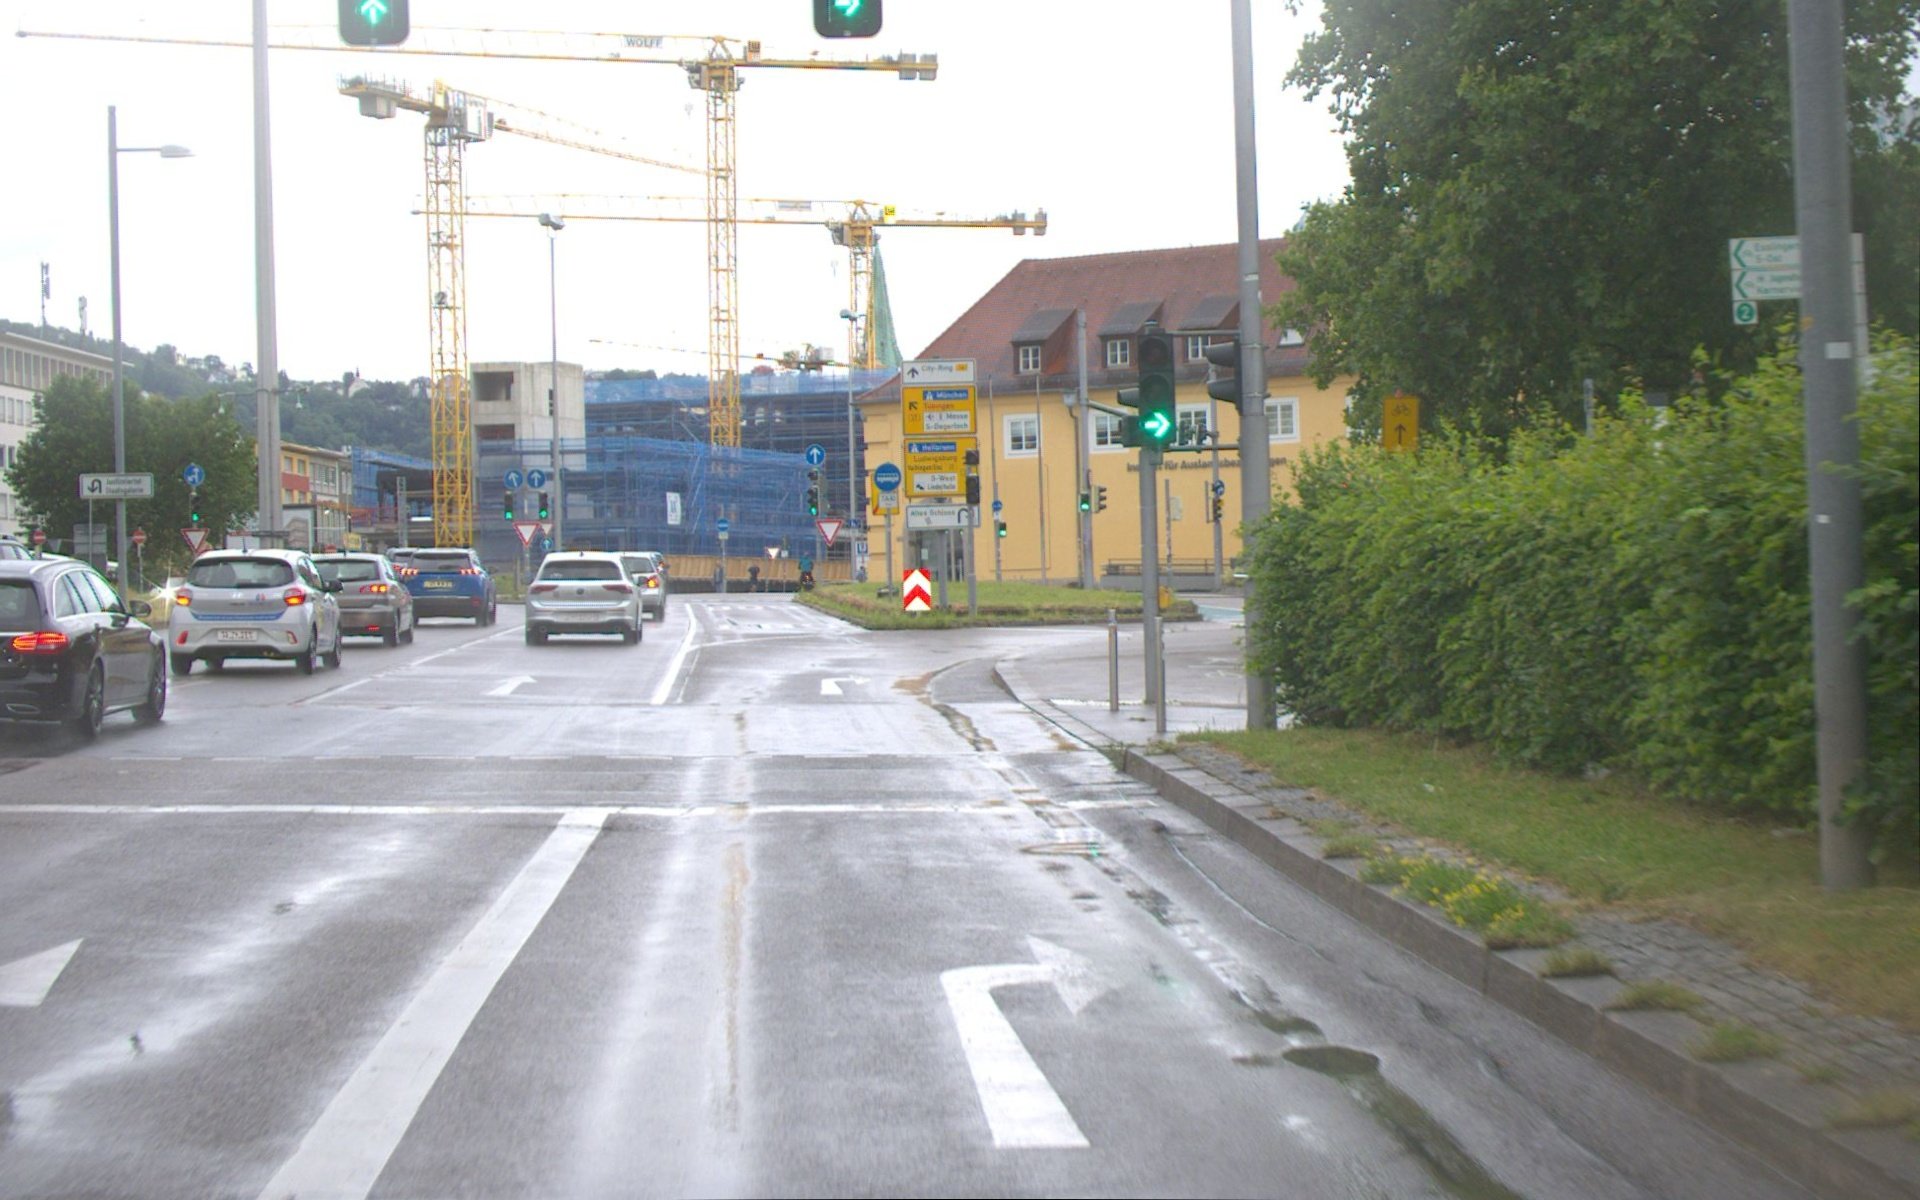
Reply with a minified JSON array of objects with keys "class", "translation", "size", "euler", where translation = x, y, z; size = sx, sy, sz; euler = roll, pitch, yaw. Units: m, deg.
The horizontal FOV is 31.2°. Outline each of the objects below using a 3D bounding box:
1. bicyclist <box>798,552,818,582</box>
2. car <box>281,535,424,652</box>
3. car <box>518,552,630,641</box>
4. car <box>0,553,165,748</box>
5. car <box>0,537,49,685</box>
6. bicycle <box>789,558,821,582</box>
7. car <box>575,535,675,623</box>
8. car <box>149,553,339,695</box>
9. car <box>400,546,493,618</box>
[{"class":"bicyclist","translation":[-6.473,-1.422,146.403],"size":[0.703,1.271,0.635],"euler":[0,0,-18]},{"class":"car","translation":[-9.300,-0.095,52.805],"size":[1.716,1.721,3.495],"euler":[0,0,-3]},{"class":"car","translation":[-5.994,-0.057,53.541],"size":[1.444,1.354,2.412],"euler":[0,0,1]},{"class":"car","translation":[-7.772,0.393,28.020],"size":[1.830,1.489,3.399],"euler":[0,0,0]},{"class":"car","translation":[-11.854,0.133,40.816],"size":[1.464,1.700,3.142],"euler":[0,0,-4]},{"class":"bicycle","translation":[-6.632,-1.272,146.678],"size":[0.880,1.006,1.993],"euler":[0,0,-18]},{"class":"car","translation":[-7.201,-0.478,74.144],"size":[1.667,1.735,3.287],"euler":[1,3,3]},{"class":"car","translation":[-8.677,0.279,41.918],"size":[1.880,1.647,3.458],"euler":[0,0,-5]},{"class":"car","translation":[-10.023,-0.342,67.259],"size":[1.493,1.365,3.033],"euler":[0,0,-3]}]
